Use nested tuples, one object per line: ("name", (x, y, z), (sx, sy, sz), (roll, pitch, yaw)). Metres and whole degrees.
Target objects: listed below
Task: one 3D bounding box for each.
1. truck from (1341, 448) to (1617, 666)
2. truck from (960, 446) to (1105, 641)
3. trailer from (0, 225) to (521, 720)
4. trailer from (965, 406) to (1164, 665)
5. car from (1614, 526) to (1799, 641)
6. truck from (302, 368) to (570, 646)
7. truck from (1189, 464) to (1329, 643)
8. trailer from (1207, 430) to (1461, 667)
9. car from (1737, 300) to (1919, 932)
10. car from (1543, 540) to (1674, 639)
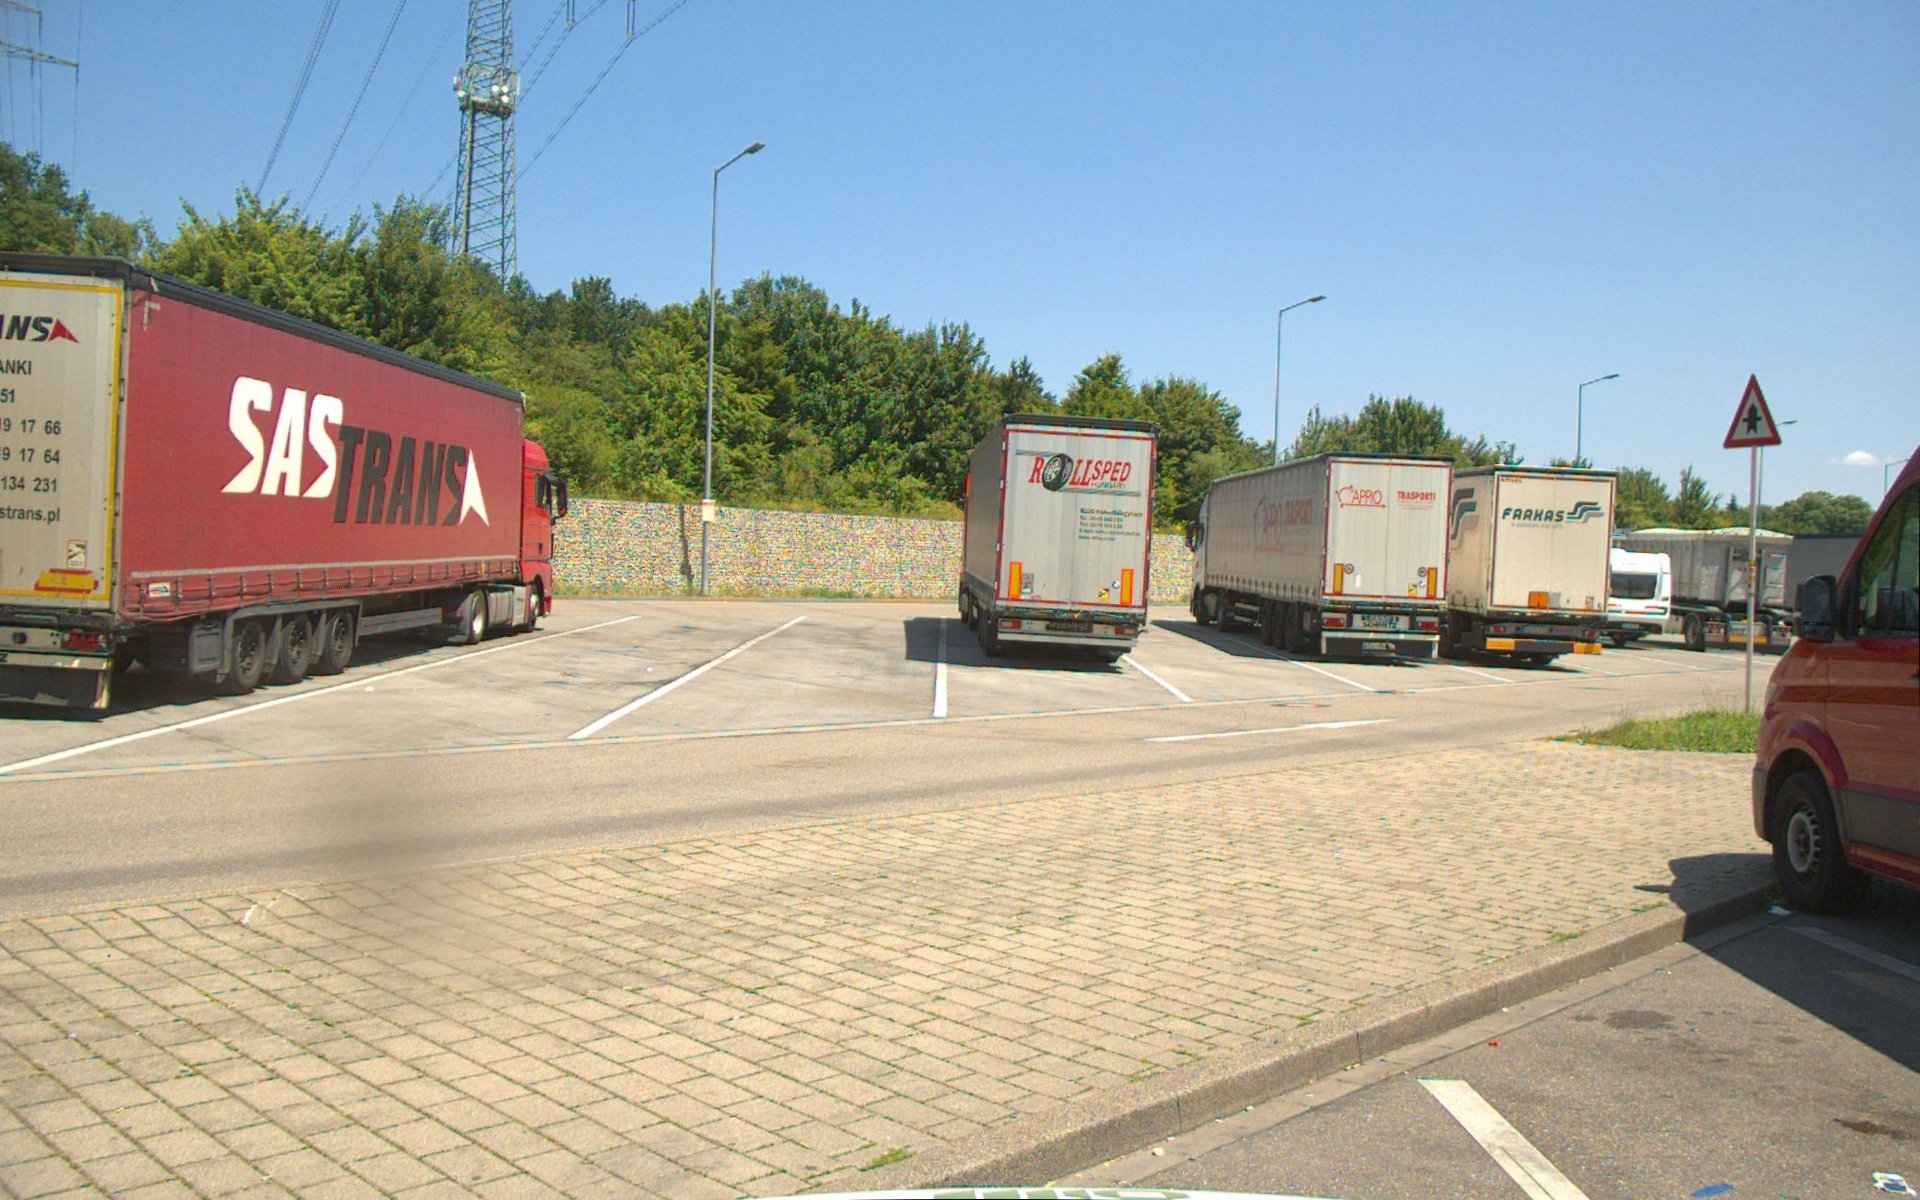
("truck", (11.730, -0.840, 38.952), (2.534, 4.299, 11.967), (1, 0, -1))
("truck", (1.532, -1.244, 37.743), (2.813, 4.050, 6.028), (1, 1, -2))
("trailer", (-8.625, -1.240, 20.995), (2.743, 4.293, 13.200), (1, 1, -1))
("trailer", (1.683, -1.129, 32.056), (2.838, 4.083, 11.315), (1, 1, -1))
("car", (21.715, -0.504, 48.504), (2.448, 3.128, 6.350), (1, 1, -1))
("truck", (-8.712, -1.476, 28.250), (2.749, 4.205, 5.893), (1, 1, -1))
("truck", (8.039, -1.250, 45.184), (2.607, 4.530, 5.863), (1, 1, -1))
("trailer", (8.189, -1.103, 38.355), (2.627, 4.530, 12.826), (1, 1, -1))
("car", (4.978, 0.102, 5.570), (1.952, 2.679, 6.385), (1, 1, 3))
("car", (18.249, -0.275, 46.746), (2.072, 2.645, 3.999), (1, 0, -1))
